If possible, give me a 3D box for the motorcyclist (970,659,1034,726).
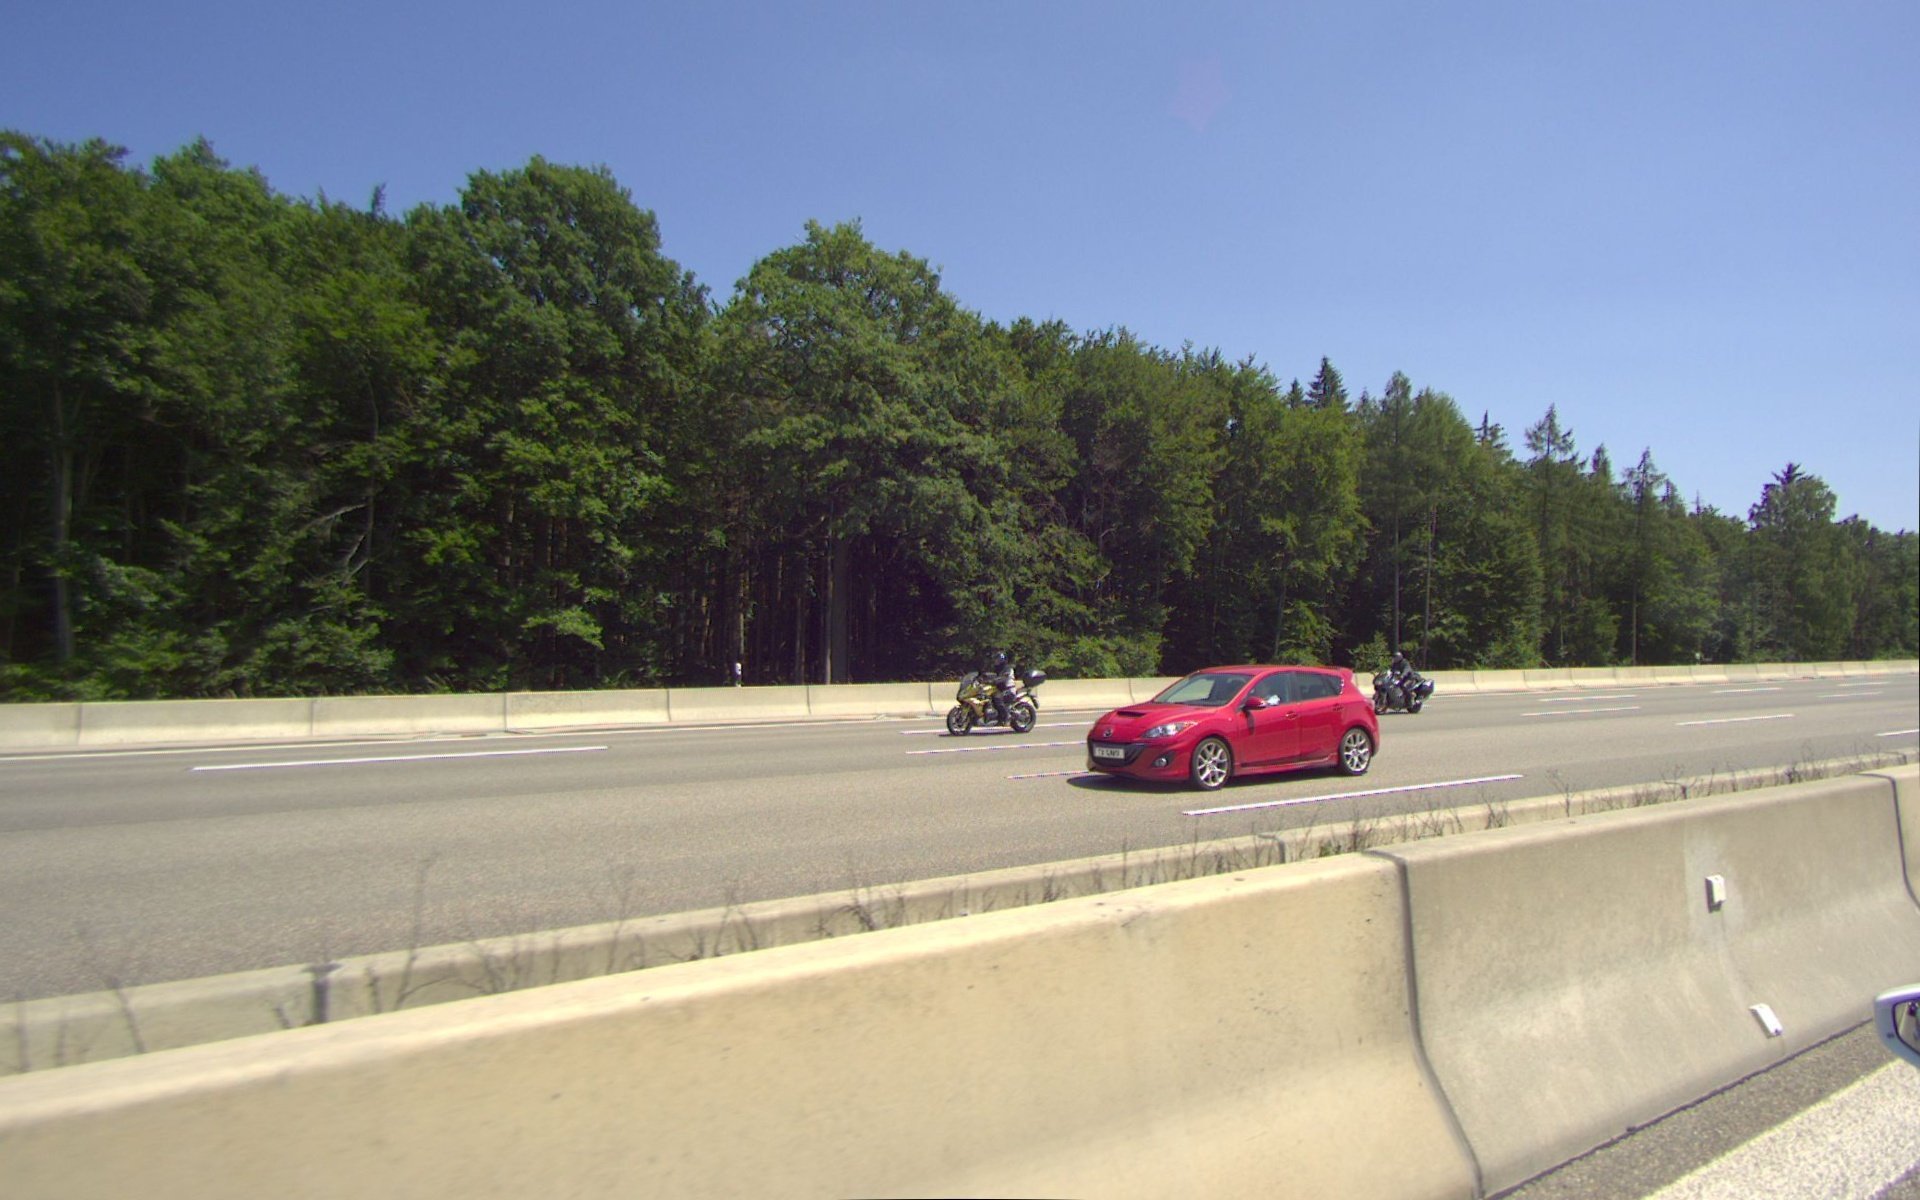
[{"bbox_3d":[0.857,1.859,20.392,1.065,1.318,0.765,2,-3,-30],"label":"motorcyclist"}]

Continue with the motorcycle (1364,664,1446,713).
[{"bbox_3d":[11.723,2.308,26.437,2.322,1.230,0.734,2,-3,-30],"label":"motorcycle"}]

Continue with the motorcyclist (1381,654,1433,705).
[{"bbox_3d":[11.785,2.084,26.494,1.065,1.318,0.757,2,-3,-30],"label":"motorcyclist"}]

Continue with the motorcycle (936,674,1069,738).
[{"bbox_3d":[0.887,2.119,20.372,2.724,1.156,0.774,1,-3,-31],"label":"motorcycle"}]

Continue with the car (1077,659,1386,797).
[{"bbox_3d":[3.596,1.562,13.160,3.982,1.531,1.565,1,-3,-30],"label":"car"}]
